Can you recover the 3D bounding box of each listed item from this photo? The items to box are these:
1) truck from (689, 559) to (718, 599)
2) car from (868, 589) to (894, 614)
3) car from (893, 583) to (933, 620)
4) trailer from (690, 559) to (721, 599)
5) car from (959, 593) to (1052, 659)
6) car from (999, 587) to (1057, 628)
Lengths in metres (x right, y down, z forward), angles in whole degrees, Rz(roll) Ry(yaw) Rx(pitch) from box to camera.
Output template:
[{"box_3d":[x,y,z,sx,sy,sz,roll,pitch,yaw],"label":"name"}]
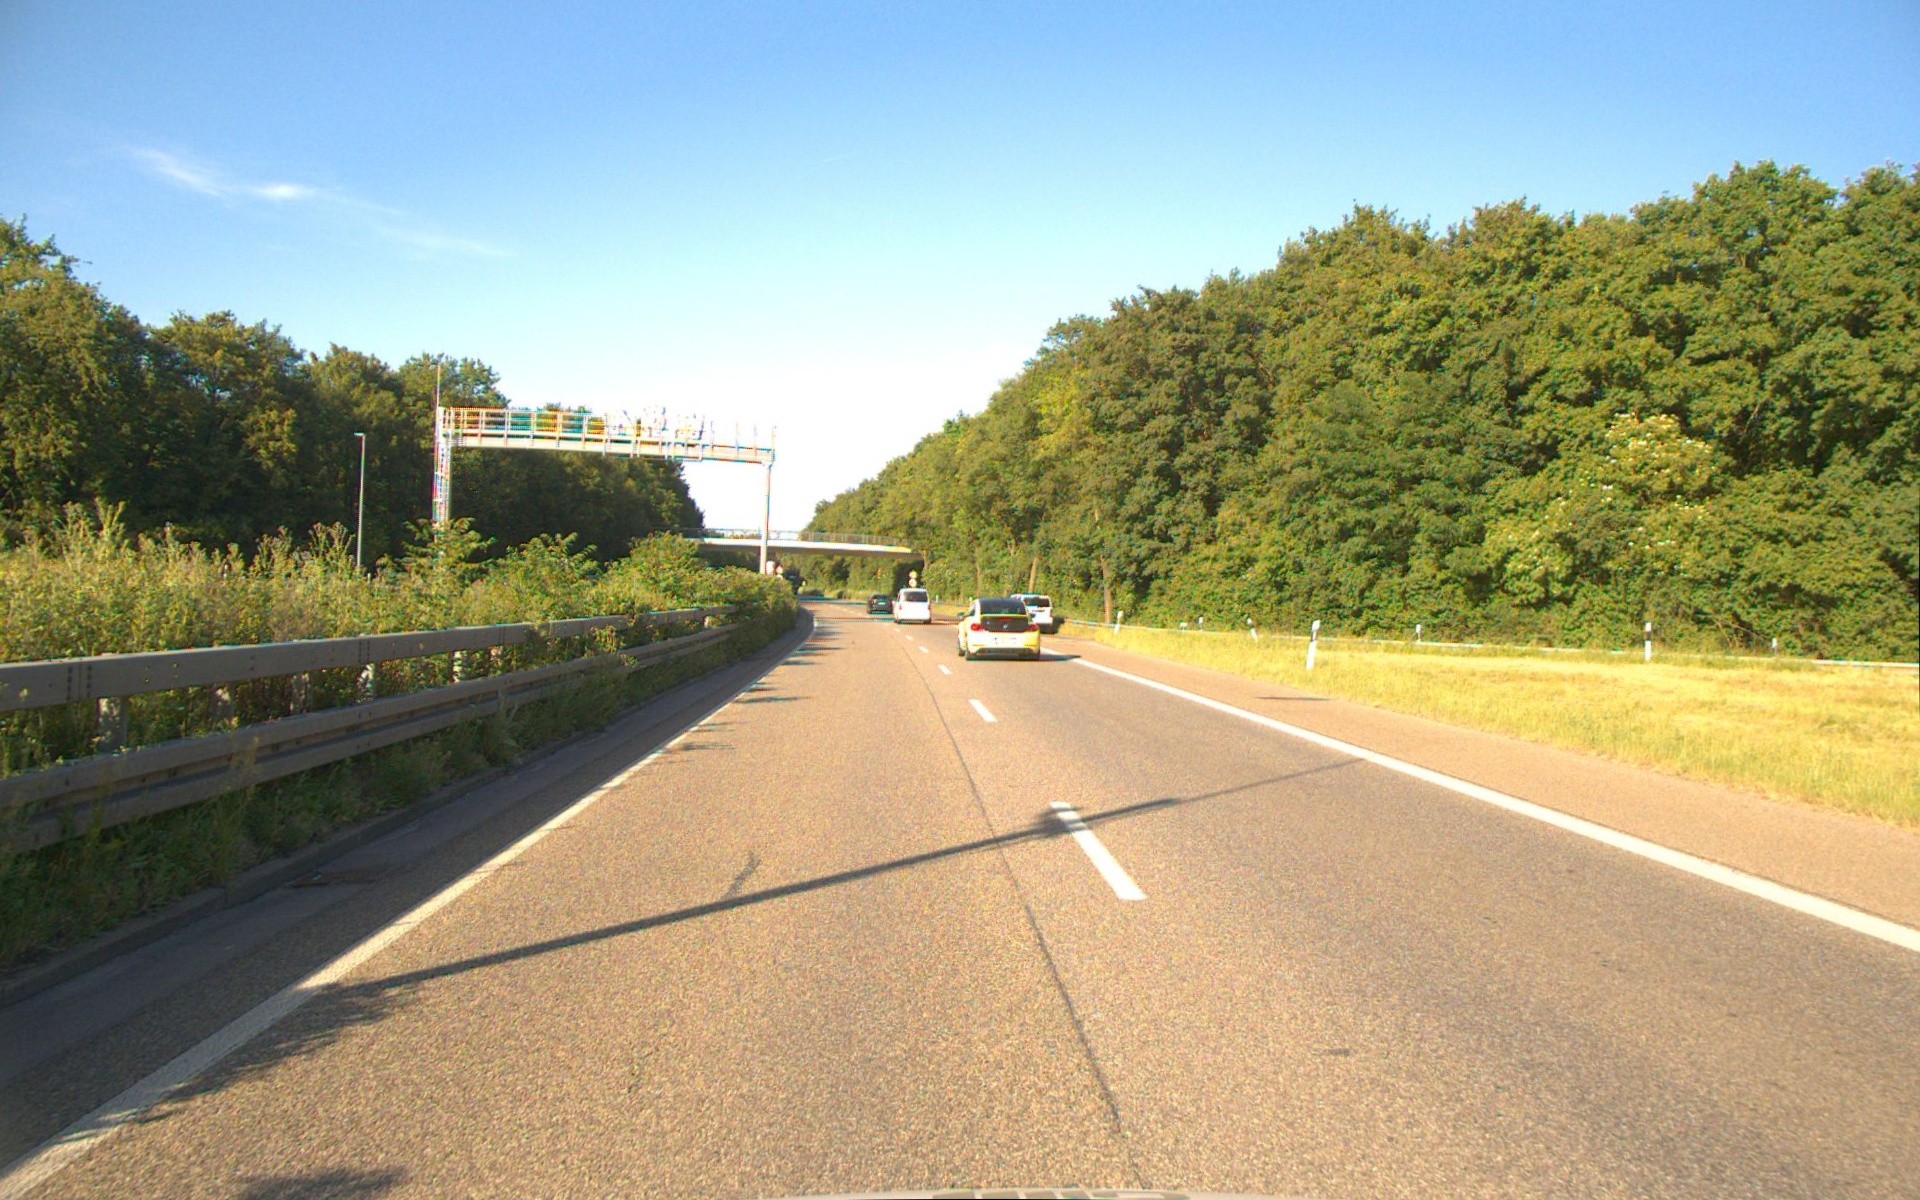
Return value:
[{"box_3d":[-27.208,-2.202,175.692,2.686,4.097,6.171,2,0,-6],"label":"truck"},{"box_3d":[-5.788,0.113,121.078,1.859,1.798,3.997,1,0,-4],"label":"car"},{"box_3d":[-2.432,0.080,84.520,1.860,1.798,3.997,1,0,-4],"label":"car"},{"box_3d":[-27.947,-2.219,182.021,2.686,4.097,14.055,2,0,-6],"label":"trailer"},{"box_3d":[1.060,0.603,40.301,1.860,1.496,3.997,1,0,-4],"label":"car"},{"box_3d":[3.198,0.345,78.571,1.863,1.856,3.988,1,0,-12],"label":"car"}]
